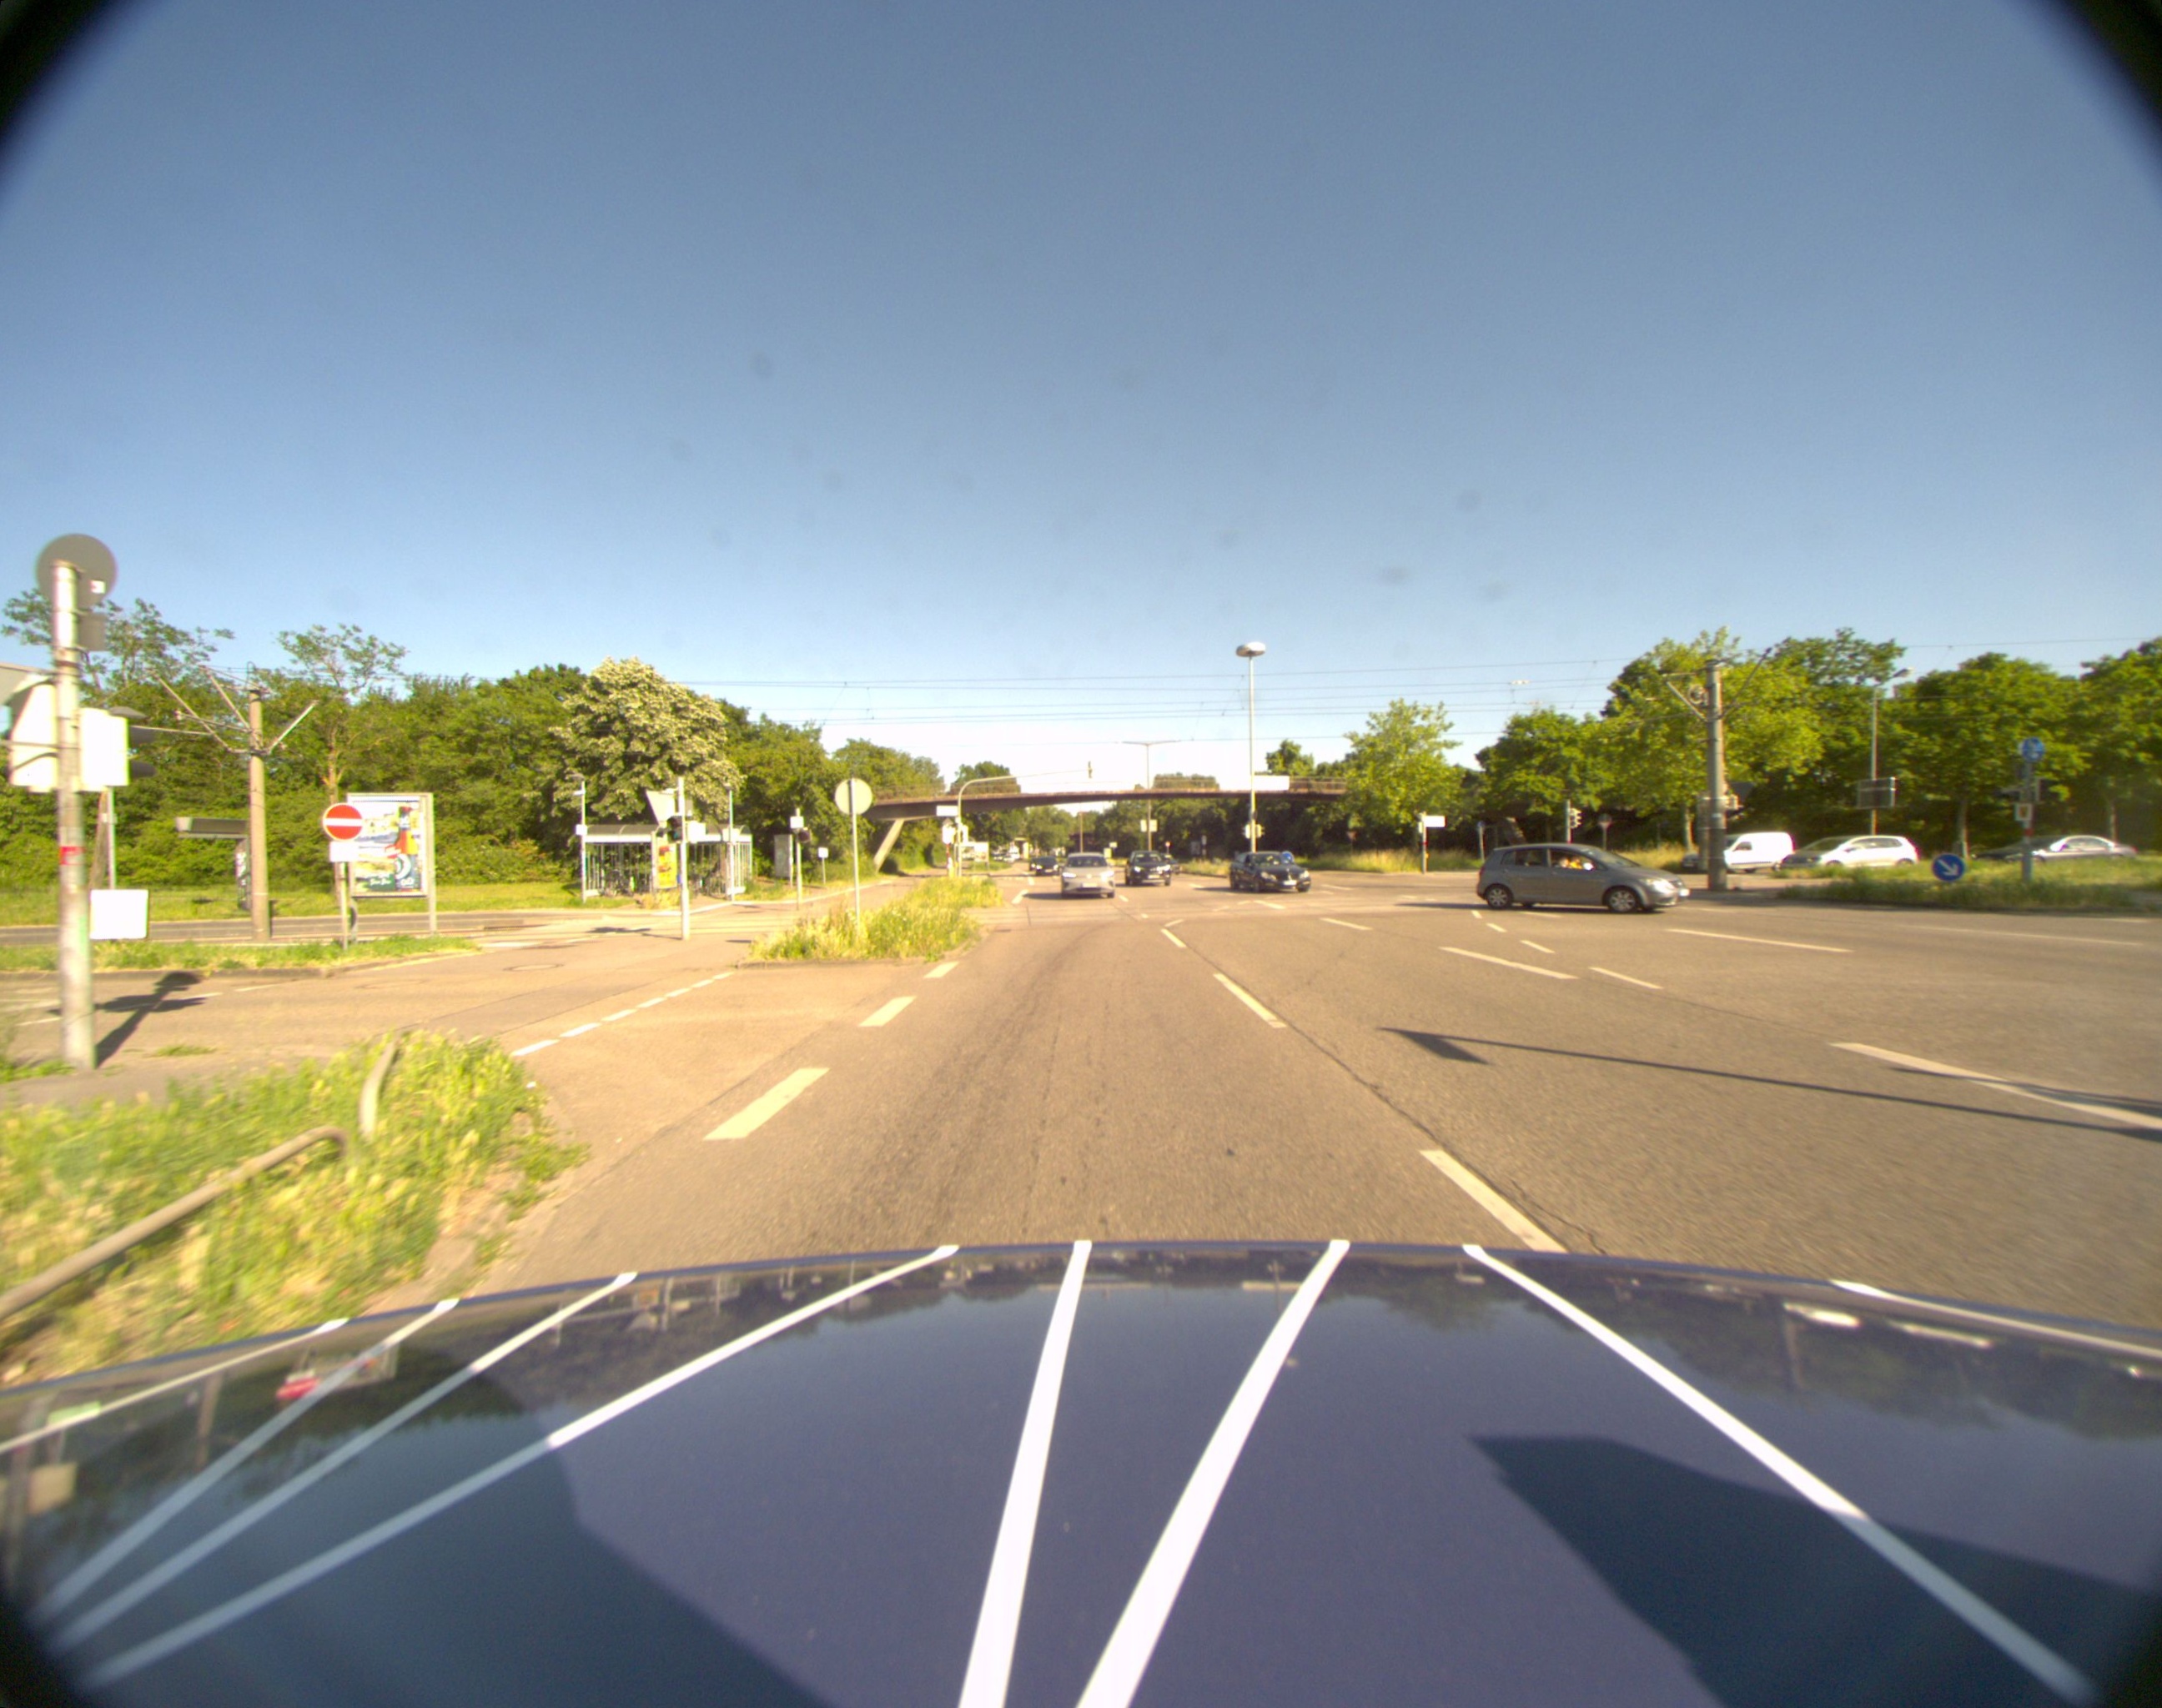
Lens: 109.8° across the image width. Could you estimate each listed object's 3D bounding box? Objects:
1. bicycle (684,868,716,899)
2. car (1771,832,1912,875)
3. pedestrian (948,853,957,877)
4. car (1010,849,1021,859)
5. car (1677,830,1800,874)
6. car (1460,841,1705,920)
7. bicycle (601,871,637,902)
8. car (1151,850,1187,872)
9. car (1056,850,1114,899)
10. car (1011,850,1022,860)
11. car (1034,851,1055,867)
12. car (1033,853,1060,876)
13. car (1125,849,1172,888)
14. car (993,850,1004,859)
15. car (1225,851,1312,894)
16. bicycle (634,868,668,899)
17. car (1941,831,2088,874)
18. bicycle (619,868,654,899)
[{"bbox_3d":[-15.610,1.210,31.172,0.431,1.062,1.783,1,5,-2],"label":"bicycle"},{"bbox_3d":[29.813,-0.028,29.858,3.924,1.551,1.851,-2,1,-6],"label":"car"},{"bbox_3d":[-8.827,0.730,52.215,0.589,1.652,0.716,0,0,-7],"label":"pedestrian"},{"bbox_3d":[-11.333,0.007,131.374,1.874,1.611,3.834,-2,0,-7],"label":"car"},{"bbox_3d":[28.675,-0.095,33.197,3.999,1.744,1.777,-2,1,-6],"label":"car"},{"bbox_3d":[11.476,0.552,17.706,1.851,1.561,4.375,-2,0,-34],"label":"car"},{"bbox_3d":[-19.032,1.307,31.329,0.431,1.062,1.783,1,5,-2],"label":"bicycle"},{"bbox_3d":[6.017,0.471,52.307,1.796,1.487,4.000,0,0,-4],"label":"car"},{"bbox_3d":[0.227,0.699,28.063,1.801,1.664,4.241,-1,0,4],"label":"car"},{"bbox_3d":[-13.309,0.282,157.186,2.000,2.002,3.997,-2,0,-8],"label":"car"},{"bbox_3d":[-3.876,0.549,80.165,1.874,1.611,3.834,-2,0,-6],"label":"car"},{"bbox_3d":[-2.689,0.770,58.600,1.874,1.611,3.834,-2,0,-6],"label":"car"},{"bbox_3d":[3.128,0.629,35.859,1.714,1.653,3.855,-2,0,-1],"label":"car"},{"bbox_3d":[-16.004,0.113,147.822,1.874,1.611,3.833,-2,0,-8],"label":"car"},{"bbox_3d":[6.945,0.637,28.657,1.779,1.478,4.527,-1,0,-6],"label":"car"},{"bbox_3d":[-17.741,1.216,31.368,0.431,1.062,1.783,1,5,-2],"label":"bicycle"},{"bbox_3d":[37.131,-0.061,30.271,3.924,1.551,1.851,-2,1,-6],"label":"car"},{"bbox_3d":[-18.324,1.203,31.377,0.431,1.062,1.783,1,5,-2],"label":"bicycle"}]
